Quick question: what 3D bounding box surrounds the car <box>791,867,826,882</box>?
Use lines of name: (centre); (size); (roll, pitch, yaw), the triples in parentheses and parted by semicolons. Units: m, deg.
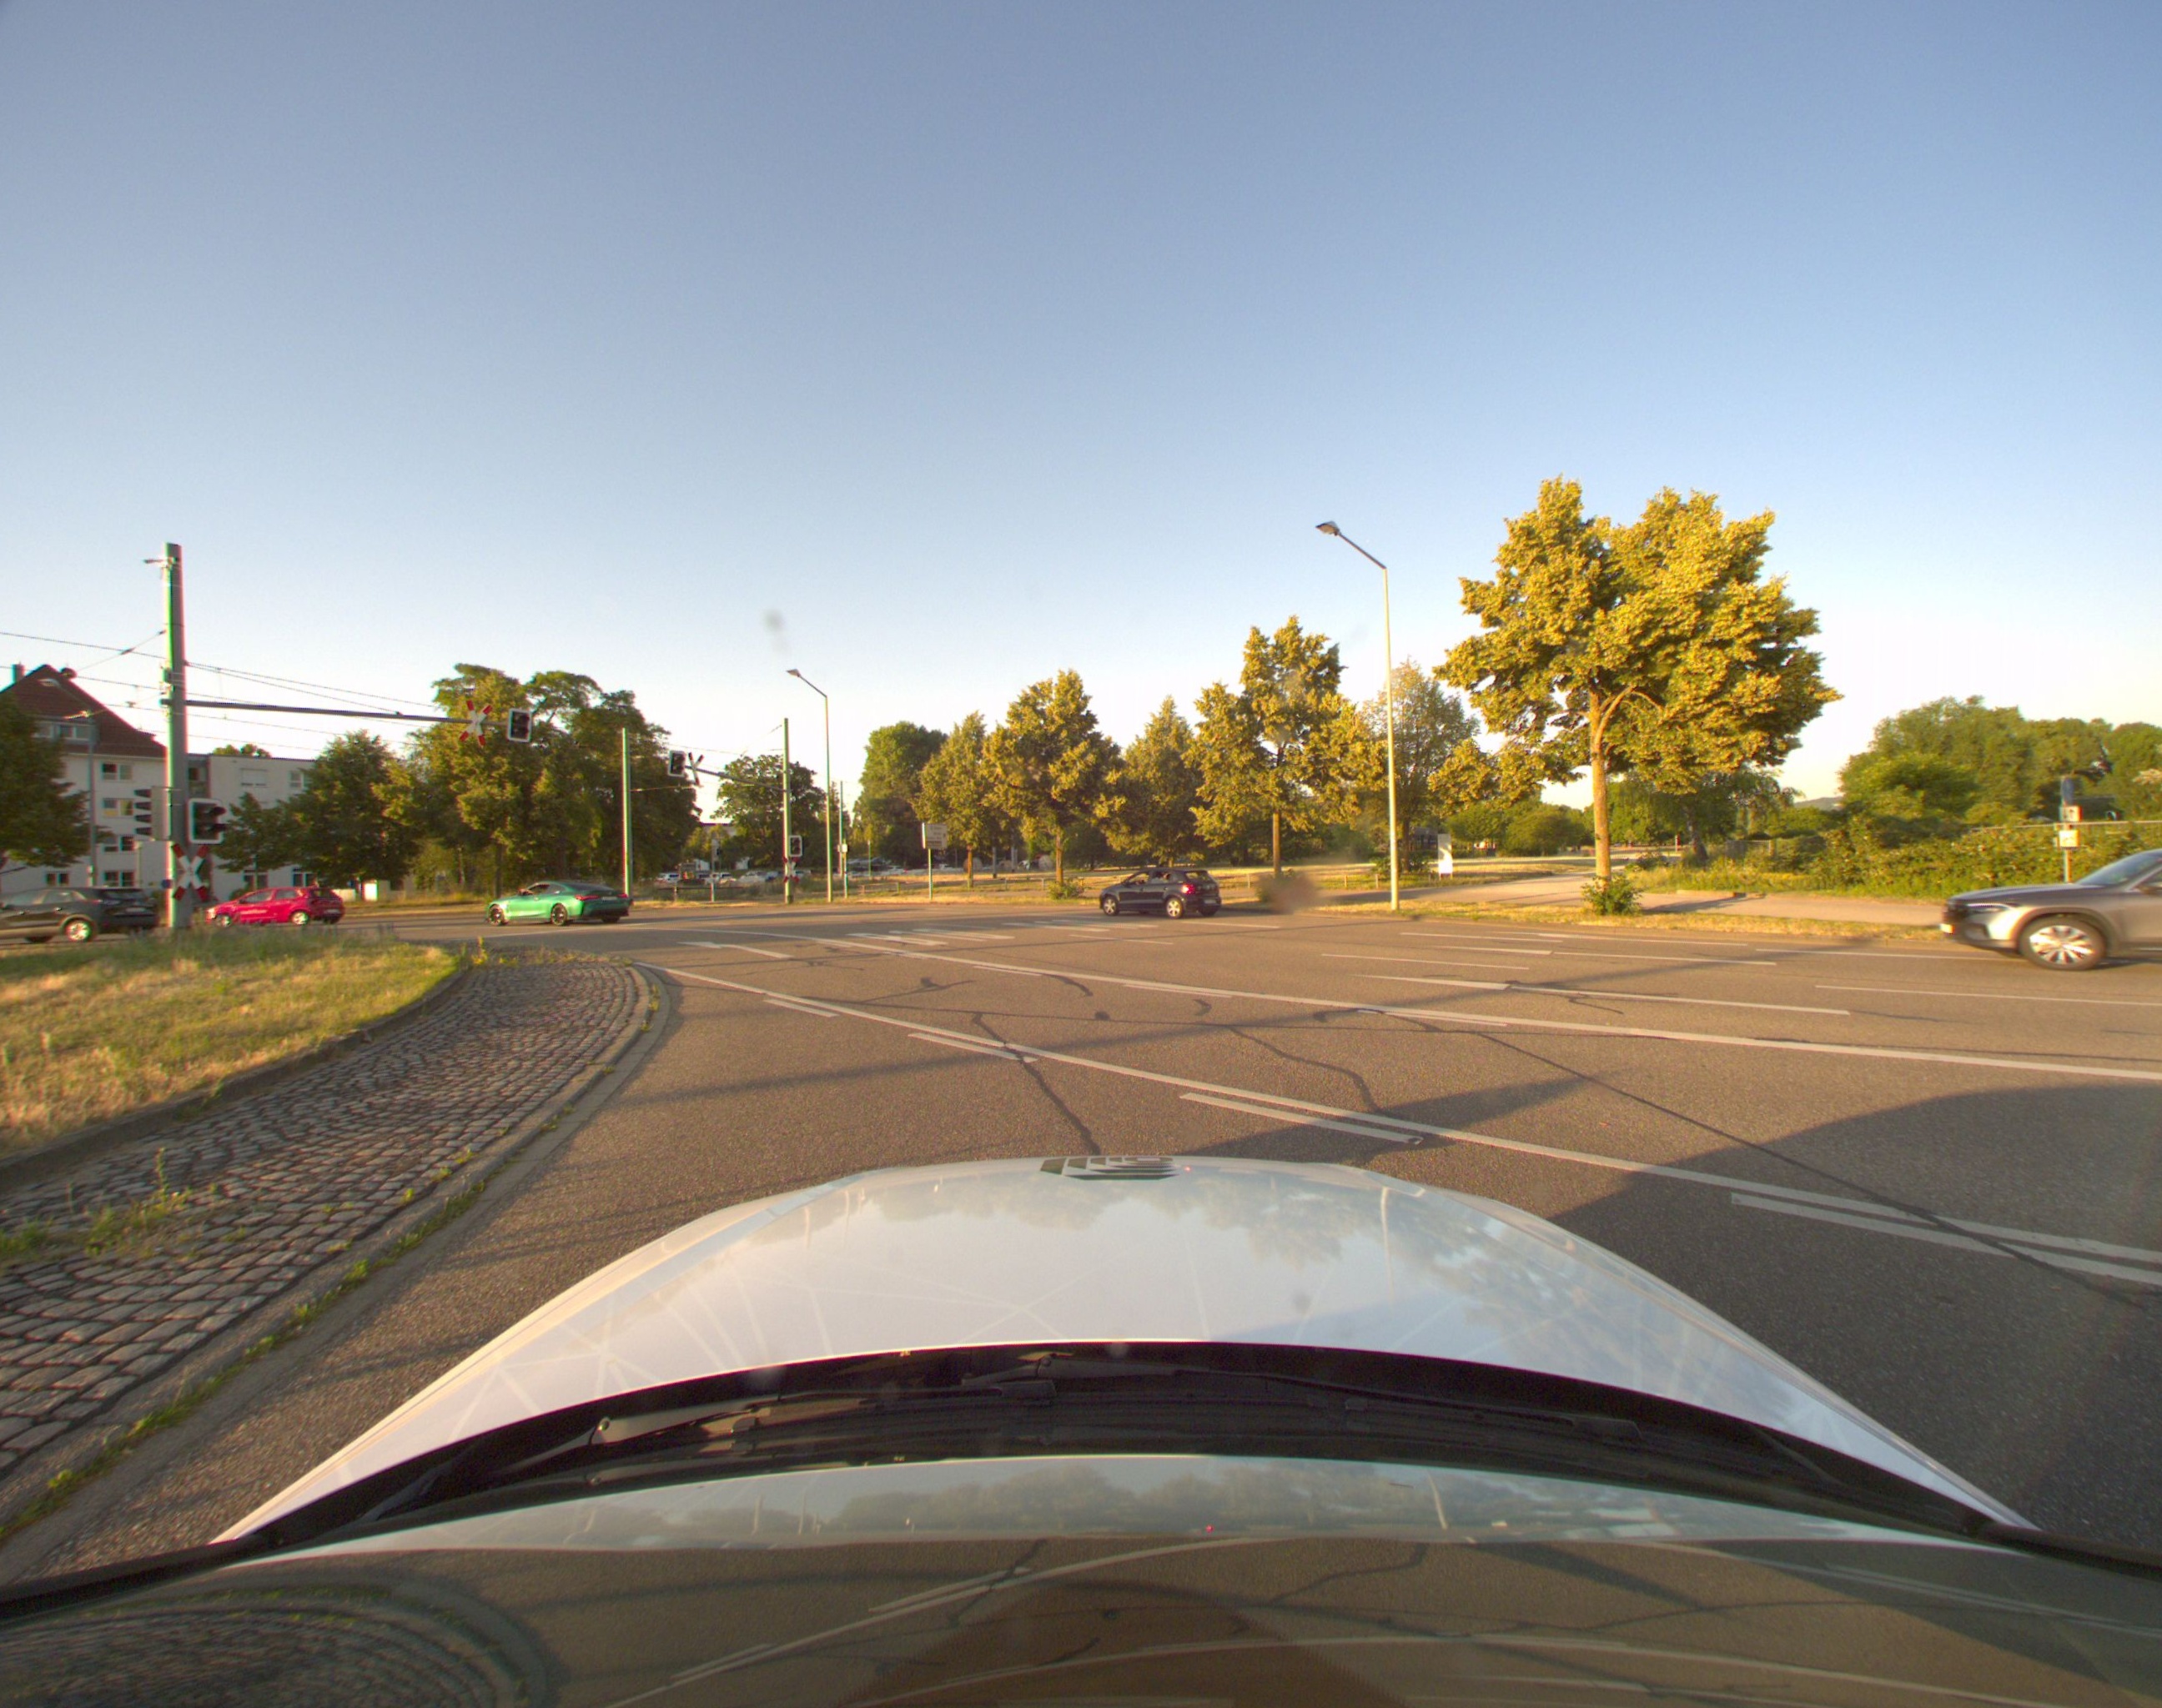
car: (-32.639, 2.459, 97.613); (3.948, 1.604, 2.013); (-2, 0, 34)

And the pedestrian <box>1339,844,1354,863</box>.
pedestrian: (23.541, -0.072, 72.279); (1.064, 1.617, 0.911); (-2, 0, 4)

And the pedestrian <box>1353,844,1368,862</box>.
pedestrian: (24.630, -0.097, 71.828); (1.064, 1.617, 0.911); (-2, 0, 4)

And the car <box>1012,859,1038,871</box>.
car: (-7.960, 1.523, 115.267); (1.748, 1.618, 3.954); (-1, 0, -39)

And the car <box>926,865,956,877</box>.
car: (-19.997, 2.372, 116.485); (3.948, 1.604, 2.013); (-2, 0, 34)

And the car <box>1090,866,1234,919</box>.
car: (2.292, 1.072, 23.646); (3.950, 1.354, 1.704); (-2, 0, 45)

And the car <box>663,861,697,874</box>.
car: (-65.670, 2.233, 133.326); (1.974, 2.013, 4.627); (-2, 0, 32)

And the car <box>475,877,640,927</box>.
car: (-16.400, 1.491, 25.502); (4.678, 1.371, 2.011); (-2, 0, 23)

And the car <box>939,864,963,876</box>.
car: (-20.846, 2.527, 129.993); (2.008, 1.752, 4.549); (-1, 1, -35)

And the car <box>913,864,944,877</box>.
car: (-21.472, 2.315, 114.791); (3.948, 1.604, 2.013); (-2, 0, 34)

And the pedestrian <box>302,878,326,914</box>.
pedestrian: (-40.460, 2.197, 42.948); (0.666, 1.893, 0.619); (0, -1, -4)

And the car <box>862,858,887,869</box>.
car: (-37.966, 1.777, 150.046); (1.975, 2.013, 4.025); (-2, 0, 42)

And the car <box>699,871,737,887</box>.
car: (-39.025, 2.684, 87.545); (3.948, 1.604, 2.013); (-2, 0, 34)

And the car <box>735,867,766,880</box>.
car: (-46.234, 2.784, 113.947); (4.005, 1.662, 1.984); (-2, 0, -24)

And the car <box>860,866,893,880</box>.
car: (-26.676, 2.483, 105.991); (3.948, 1.604, 2.013); (-2, 0, 34)

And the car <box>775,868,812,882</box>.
car: (-33.704, 2.449, 95.434); (3.948, 1.604, 2.013); (-2, 0, 34)

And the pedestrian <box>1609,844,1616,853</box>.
pedestrian: (99.277, -0.952, 152.005); (0.844, 1.661, 0.984); (-2, -1, 44)

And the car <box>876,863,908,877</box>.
car: (-29.383, 2.414, 126.703); (4.578, 2.013, 1.995); (-2, 0, -7)

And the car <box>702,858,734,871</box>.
car: (-61.932, 1.789, 139.065); (1.974, 2.013, 4.628); (-2, 0, 36)

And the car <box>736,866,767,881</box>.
car: (-47.645, 2.770, 117.735); (4.006, 2.013, 1.984); (-2, 0, -24)

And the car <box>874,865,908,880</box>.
car: (-27.657, 2.683, 118.516); (4.578, 2.013, 1.995); (-2, 0, -7)

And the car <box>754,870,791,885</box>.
car: (-35.511, 2.708, 93.675); (3.948, 1.604, 2.013); (-2, 0, 34)

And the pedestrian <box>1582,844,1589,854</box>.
pedestrian: (92.412, -0.925, 149.154); (0.844, 1.661, 0.984); (-2, 0, 27)

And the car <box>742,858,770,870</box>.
car: (-57.844, 1.805, 144.936); (1.974, 2.013, 4.143); (-2, 0, 36)

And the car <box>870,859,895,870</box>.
car: (-35.689, 1.888, 146.440); (3.964, 1.706, 2.005); (-2, 0, 8)

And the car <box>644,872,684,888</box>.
car: (-42.656, 2.676, 83.328); (3.948, 1.604, 2.013); (-2, 0, 34)

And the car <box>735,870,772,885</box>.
car: (-37.056, 2.707, 92.065); (3.948, 1.604, 2.013); (-2, 0, 34)

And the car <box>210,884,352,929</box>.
car: (-30.185, 1.951, 30.813); (3.478, 1.500, 1.637); (-2, 0, -9)

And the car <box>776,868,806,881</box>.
car: (-41.305, 2.882, 115.999); (4.001, 1.662, 1.889); (-2, 0, -20)

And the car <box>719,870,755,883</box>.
car: (-46.119, 3.014, 109.147); (1.878, 1.662, 4.026); (-2, 0, 37)

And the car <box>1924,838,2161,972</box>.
car: (14.328, 0.610, 10.532); (4.467, 1.637, 2.013); (-2, 0, 37)

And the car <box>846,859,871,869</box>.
car: (-41.755, 1.887, 153.025); (1.974, 1.816, 4.026); (-2, 0, 37)

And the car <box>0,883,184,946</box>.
car: (-29.007, 1.733, 23.471); (3.980, 1.584, 1.893); (-2, 0, -5)
